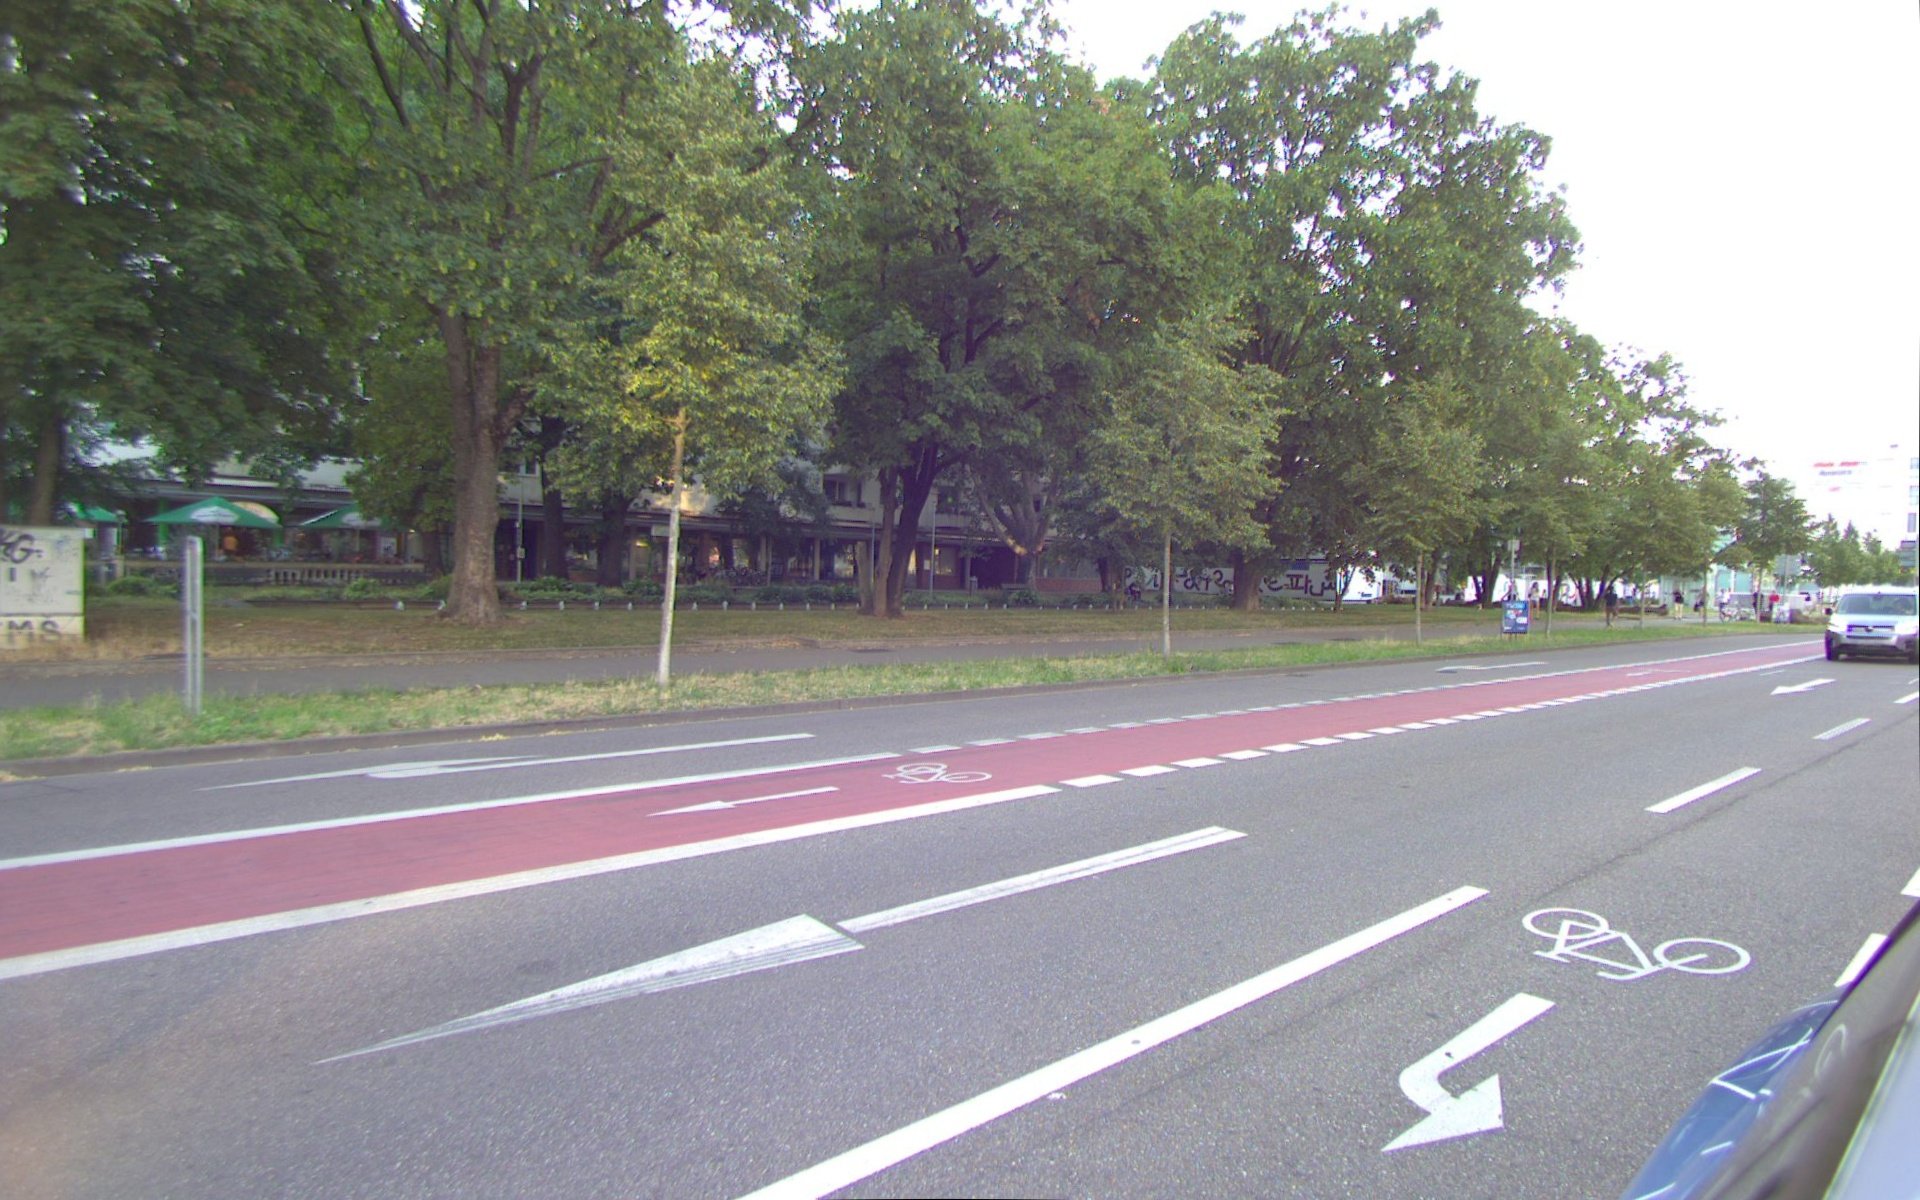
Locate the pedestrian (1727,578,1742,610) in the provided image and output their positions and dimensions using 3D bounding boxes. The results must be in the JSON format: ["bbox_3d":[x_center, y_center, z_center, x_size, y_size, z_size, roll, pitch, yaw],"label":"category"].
[{"bbox_3d":[43.212,-0.323,56.462,0.707,1.751,0.508,0,2,-40],"label":"pedestrian"}]

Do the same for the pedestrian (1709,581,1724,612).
[{"bbox_3d":[42.780,-0.210,57.230,0.707,1.751,0.519,0,2,-40],"label":"pedestrian"}]

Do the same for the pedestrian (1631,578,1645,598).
[{"bbox_3d":[47.847,-0.875,71.450,0.550,1.371,0.662,0,2,-40],"label":"pedestrian"}]

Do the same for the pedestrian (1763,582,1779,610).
[{"bbox_3d":[52.112,-0.276,65.022,0.497,1.779,0.638,0,2,-40],"label":"pedestrian"}]

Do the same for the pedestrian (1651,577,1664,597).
[{"bbox_3d":[49.385,-0.908,71.641,0.759,1.371,0.519,0,2,-41],"label":"pedestrian"}]

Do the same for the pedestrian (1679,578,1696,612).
[{"bbox_3d":[38.554,-0.259,53.624,0.707,1.751,0.508,0,2,-40],"label":"pedestrian"}]

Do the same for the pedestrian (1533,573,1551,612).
[{"bbox_3d":[24.566,-0.311,42.697,0.359,1.621,0.500,1,2,-40],"label":"pedestrian"}]

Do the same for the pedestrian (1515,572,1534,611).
[{"bbox_3d":[23.638,-0.345,42.376,0.513,1.621,0.500,0,2,-41],"label":"pedestrian"}]

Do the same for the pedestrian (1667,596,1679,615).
[{"bbox_3d":[50.000,0.381,70.965,0.427,1.371,0.508,0,2,-40],"label":"pedestrian"}]

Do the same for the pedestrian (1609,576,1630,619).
[{"bbox_3d":[27.144,-0.097,41.645,0.546,1.760,0.558,0,2,-41],"label":"pedestrian"}]

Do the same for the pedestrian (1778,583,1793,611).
[{"bbox_3d":[52.445,-0.193,64.294,0.497,1.779,0.638,0,2,-40],"label":"pedestrian"}]

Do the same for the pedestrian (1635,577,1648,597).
[{"bbox_3d":[48.909,-0.919,72.612,0.496,1.371,0.654,0,2,-40],"label":"pedestrian"}]

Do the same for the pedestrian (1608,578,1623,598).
[{"bbox_3d":[47.004,-0.877,72.611,0.604,1.371,0.728,0,2,-40],"label":"pedestrian"}]

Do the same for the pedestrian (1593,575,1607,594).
[{"bbox_3d":[46.063,-1.107,72.800,0.669,1.371,0.631,0,2,-41],"label":"pedestrian"}]

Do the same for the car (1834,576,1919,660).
[{"bbox_3d":[23.544,0.410,25.386,4.420,1.912,1.767,0,2,-40],"label":"car"}]
